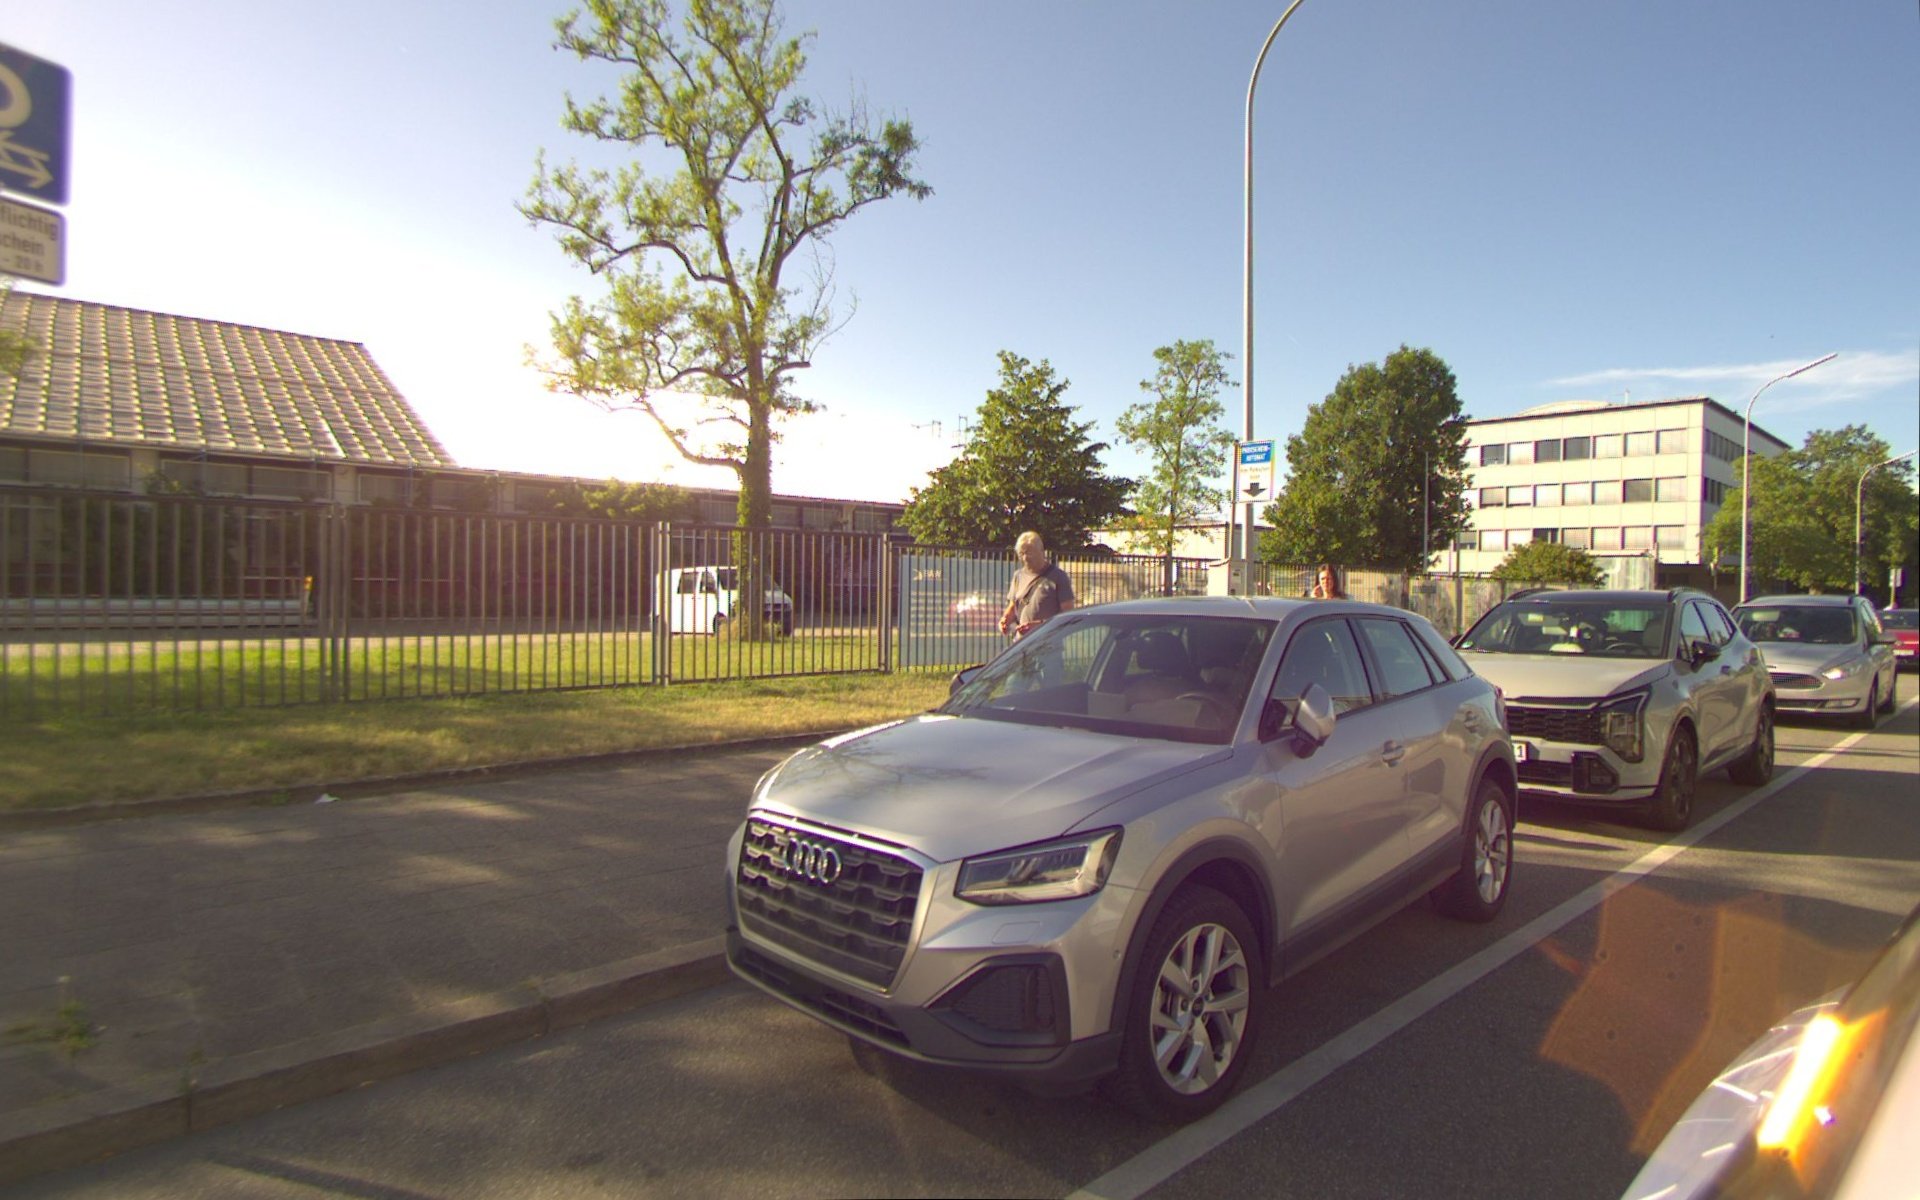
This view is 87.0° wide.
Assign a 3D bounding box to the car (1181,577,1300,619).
[{"bbox_3d":[12.175,-0.113,44.074,4.629,1.689,1.968,2,1,44],"label":"car"}]

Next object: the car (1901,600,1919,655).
[{"bbox_3d":[28.106,0.756,28.743,4.144,1.506,1.702,0,0,-43],"label":"car"}]

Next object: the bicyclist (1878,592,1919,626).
[{"bbox_3d":[36.996,0.357,39.760,0.844,1.284,1.102,1,1,-26],"label":"bicyclist"}]

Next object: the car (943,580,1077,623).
[{"bbox_3d":[1.526,0.065,32.053,1.798,1.268,4.145,0,-1,-44],"label":"car"}]

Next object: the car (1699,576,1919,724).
[{"bbox_3d":[11.978,0.593,14.146,4.624,1.744,1.811,0,-1,-43],"label":"car"}]

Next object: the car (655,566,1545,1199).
[{"bbox_3d":[0.926,0.682,4.265,3.915,1.506,1.701,0,0,-45],"label":"car"}]

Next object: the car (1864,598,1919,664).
[{"bbox_3d":[23.816,0.722,24.984,4.642,1.529,1.811,0,0,-43],"label":"car"}]

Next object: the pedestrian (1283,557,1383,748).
[{"bbox_3d":[3.338,0.445,9.057,0.670,1.632,0.540,0,-1,-37],"label":"pedestrian"}]

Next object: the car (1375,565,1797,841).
[{"bbox_3d":[5.136,0.613,8.047,4.277,1.627,1.703,0,0,-42],"label":"car"}]

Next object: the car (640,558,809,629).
[{"bbox_3d":[-6.185,-0.130,26.176,2.061,1.665,4.969,0,-1,-44],"label":"car"}]

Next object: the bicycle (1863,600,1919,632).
[{"bbox_3d":[36.844,0.639,39.743,0.654,1.157,1.906,2,2,-26],"label":"bicycle"}]

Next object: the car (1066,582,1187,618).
[{"bbox_3d":[6.076,0.012,37.327,1.848,1.268,4.145,0,-1,-44],"label":"car"}]

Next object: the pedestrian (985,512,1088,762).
[{"bbox_3d":[0.553,0.255,7.380,0.513,1.730,0.521,0,-1,-39],"label":"pedestrian"}]
